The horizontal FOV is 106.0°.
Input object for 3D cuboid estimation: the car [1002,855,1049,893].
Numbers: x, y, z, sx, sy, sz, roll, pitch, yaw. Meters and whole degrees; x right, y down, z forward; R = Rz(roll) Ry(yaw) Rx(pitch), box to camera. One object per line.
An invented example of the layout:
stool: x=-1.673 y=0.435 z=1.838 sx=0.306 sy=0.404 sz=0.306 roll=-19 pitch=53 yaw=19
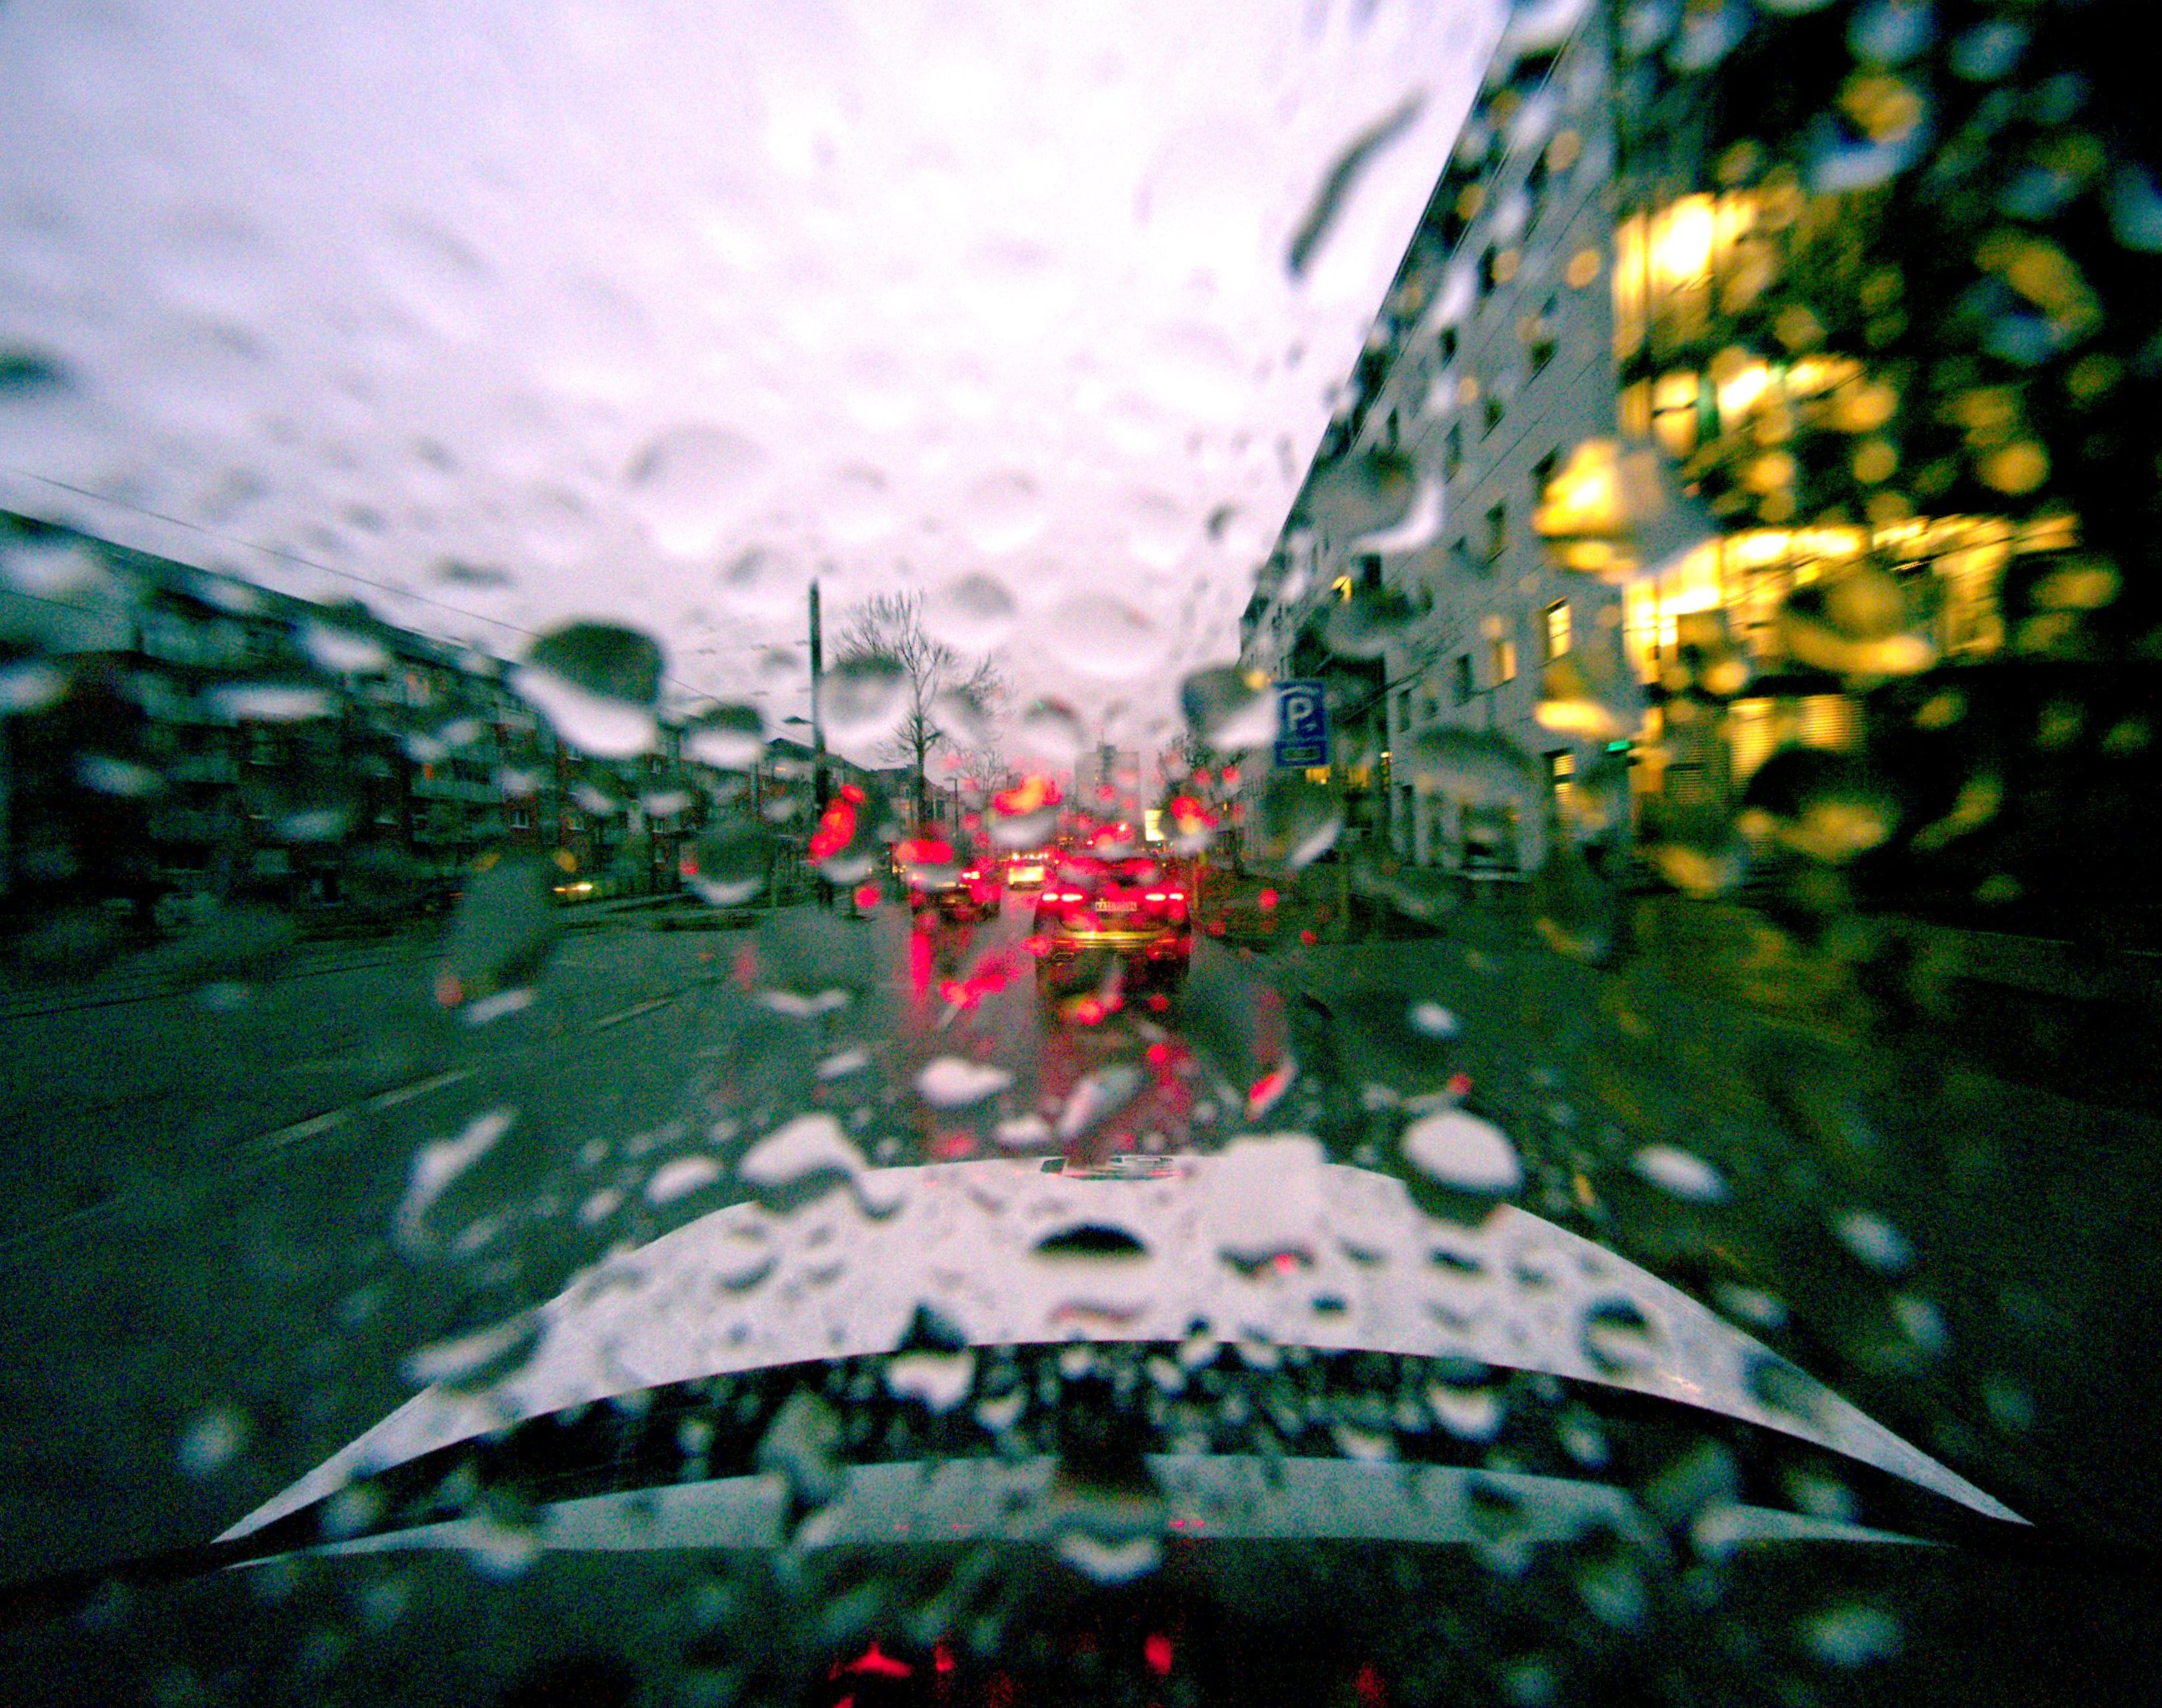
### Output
car: x=-2.506 y=0.883 z=37.614 sx=1.682 sy=1.635 sz=3.477 roll=0 pitch=0 yaw=4

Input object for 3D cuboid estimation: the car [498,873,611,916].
car: x=-18.331 y=1.367 z=28.559 sx=1.438 sy=1.342 sz=3.640 roll=0 pitch=0 yaw=3

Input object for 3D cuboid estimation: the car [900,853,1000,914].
car: x=-3.305 y=0.702 z=21.309 sx=1.810 sy=1.450 sz=4.002 roll=0 pitch=0 yaw=2

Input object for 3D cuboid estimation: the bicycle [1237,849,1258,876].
bicycle: x=6.228 y=0.313 z=30.530 sx=0.543 sy=0.965 sz=1.346 roll=0 pitch=0 yaw=1

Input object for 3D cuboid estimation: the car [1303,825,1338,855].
car: x=14.521 y=-0.824 z=49.572 sx=1.618 sy=1.759 sz=3.430 roll=0 pitch=0 yaw=9

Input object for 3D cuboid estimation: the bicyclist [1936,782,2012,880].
bicyclist: x=12.526 y=-0.308 z=11.444 sx=0.615 sy=1.330 sz=0.569 roll=0 pitch=0 yaw=37

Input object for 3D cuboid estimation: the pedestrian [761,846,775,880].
pedestrian: x=-15.613 y=0.440 z=40.623 sx=0.490 sy=1.656 sz=0.465 roll=0 pitch=0 yaw=19

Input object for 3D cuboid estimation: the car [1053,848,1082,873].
car: x=-0.938 y=0.449 z=57.876 sx=1.654 sy=1.759 sz=3.573 roll=0 pitch=0 yaw=5

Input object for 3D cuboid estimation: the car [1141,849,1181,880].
car: x=4.126 y=0.525 z=42.287 sx=1.843 sy=1.555 sz=3.433 roll=0 pitch=0 yaw=2

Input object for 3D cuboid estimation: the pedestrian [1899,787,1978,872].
pedestrian: x=16.950 y=-0.471 z=16.120 sx=0.803 sy=1.654 sz=0.727 roll=0 pitch=0 yaw=5

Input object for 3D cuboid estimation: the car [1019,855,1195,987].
car: x=0.414 y=0.758 z=11.023 sx=1.985 sy=1.483 sz=3.704 roll=0 pitch=0 yaw=4

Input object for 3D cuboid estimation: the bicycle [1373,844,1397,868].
bicycle: x=11.828 y=0.068 z=31.708 sx=0.373 sy=0.929 sz=1.076 roll=0 pitch=1 yaw=-11

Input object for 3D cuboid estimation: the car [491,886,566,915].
car: x=-28.753 y=2.400 z=42.481 sx=1.438 sy=1.287 sz=3.389 roll=0 pitch=0 yaw=3

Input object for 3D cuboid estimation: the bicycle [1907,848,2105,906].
bicycle: x=12.719 y=0.291 z=11.283 sx=1.711 sy=0.745 sz=0.656 roll=0 pitch=0 yaw=37

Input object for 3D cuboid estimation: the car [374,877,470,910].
car: x=-29.410 y=1.740 z=36.478 sx=1.438 sy=1.287 sz=3.389 roll=0 pitch=0 yaw=3

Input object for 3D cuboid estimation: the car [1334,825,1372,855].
car: x=16.448 y=-0.804 z=49.333 sx=1.618 sy=1.759 sz=3.430 roll=0 pitch=0 yaw=9
